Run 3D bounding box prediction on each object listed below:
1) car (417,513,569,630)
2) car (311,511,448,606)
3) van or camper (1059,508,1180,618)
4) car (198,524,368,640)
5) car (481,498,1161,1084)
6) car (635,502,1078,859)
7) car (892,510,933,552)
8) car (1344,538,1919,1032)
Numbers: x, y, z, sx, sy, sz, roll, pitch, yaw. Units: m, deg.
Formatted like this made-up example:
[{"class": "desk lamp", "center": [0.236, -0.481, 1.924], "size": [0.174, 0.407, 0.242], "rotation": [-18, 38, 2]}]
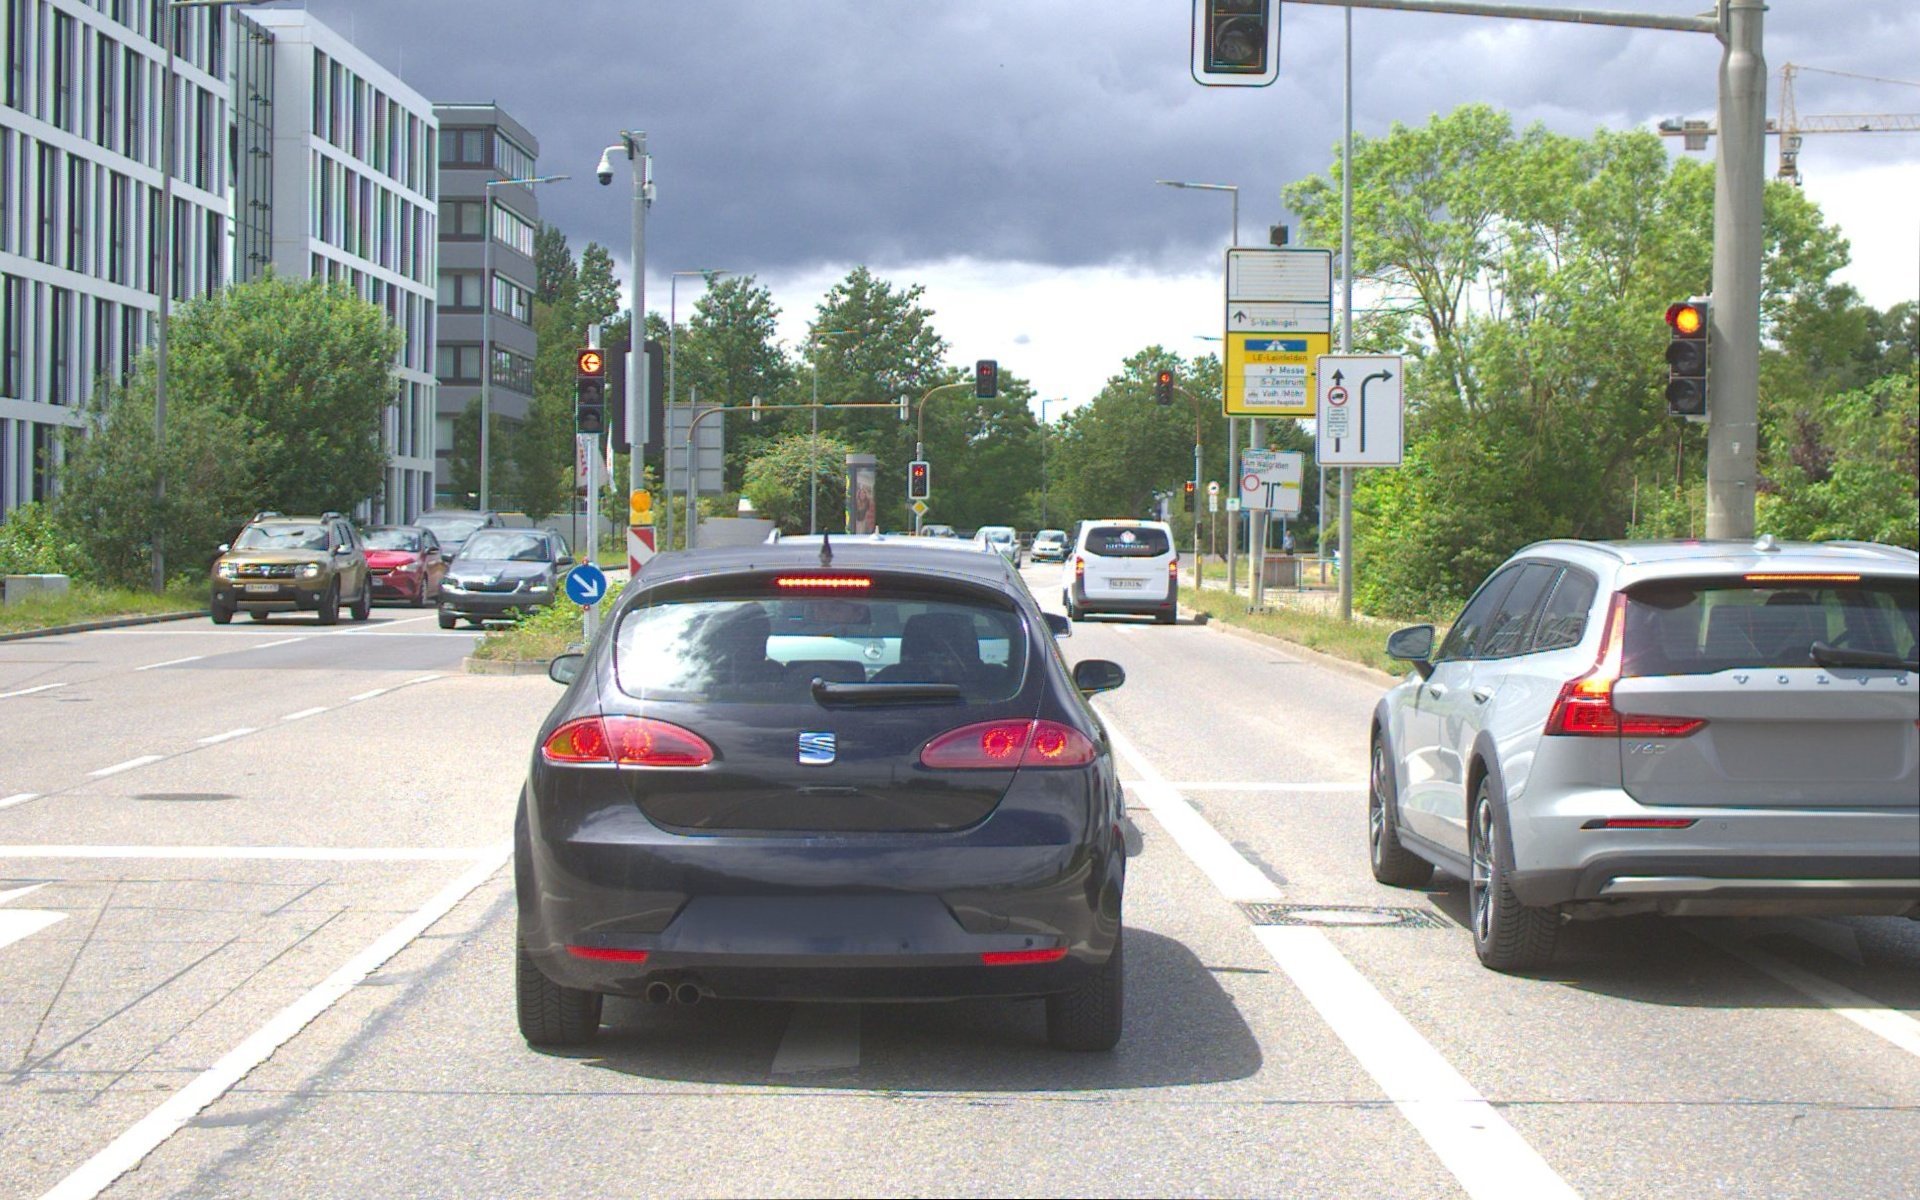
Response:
[{"class": "car", "center": [-6.742, -0.453, 49.926], "size": [1.668, 1.519, 4.008], "rotation": [-2, 2, -1]}, {"class": "car", "center": [-10.218, -0.730, 60.755], "size": [1.776, 1.606, 4.000], "rotation": [0, 1, -1]}, {"class": "van or camper", "center": [2.856, -0.666, 62.318], "size": [1.899, 1.919, 4.000], "rotation": [0, 1, -1]}, {"class": "car", "center": [-10.043, -0.294, 51.226], "size": [1.751, 1.625, 4.000], "rotation": [-1, 1, -1]}, {"class": "car", "center": [-0.275, 0.477, 11.014], "size": [1.748, 1.478, 4.000], "rotation": [2, 1, 3]}, {"class": "car", "center": [-0.520, 0.328, 17.682], "size": [1.983, 1.585, 4.226], "rotation": [1, 1, -1]}, {"class": "car", "center": [-2.326, -3.369, 168.768], "size": [1.993, 2.007, 4.000], "rotation": [0, 1, -1]}, {"class": "car", "center": [2.669, 0.550, 12.893], "size": [1.958, 1.520, 4.340], "rotation": [-1, 1, 0]}]
